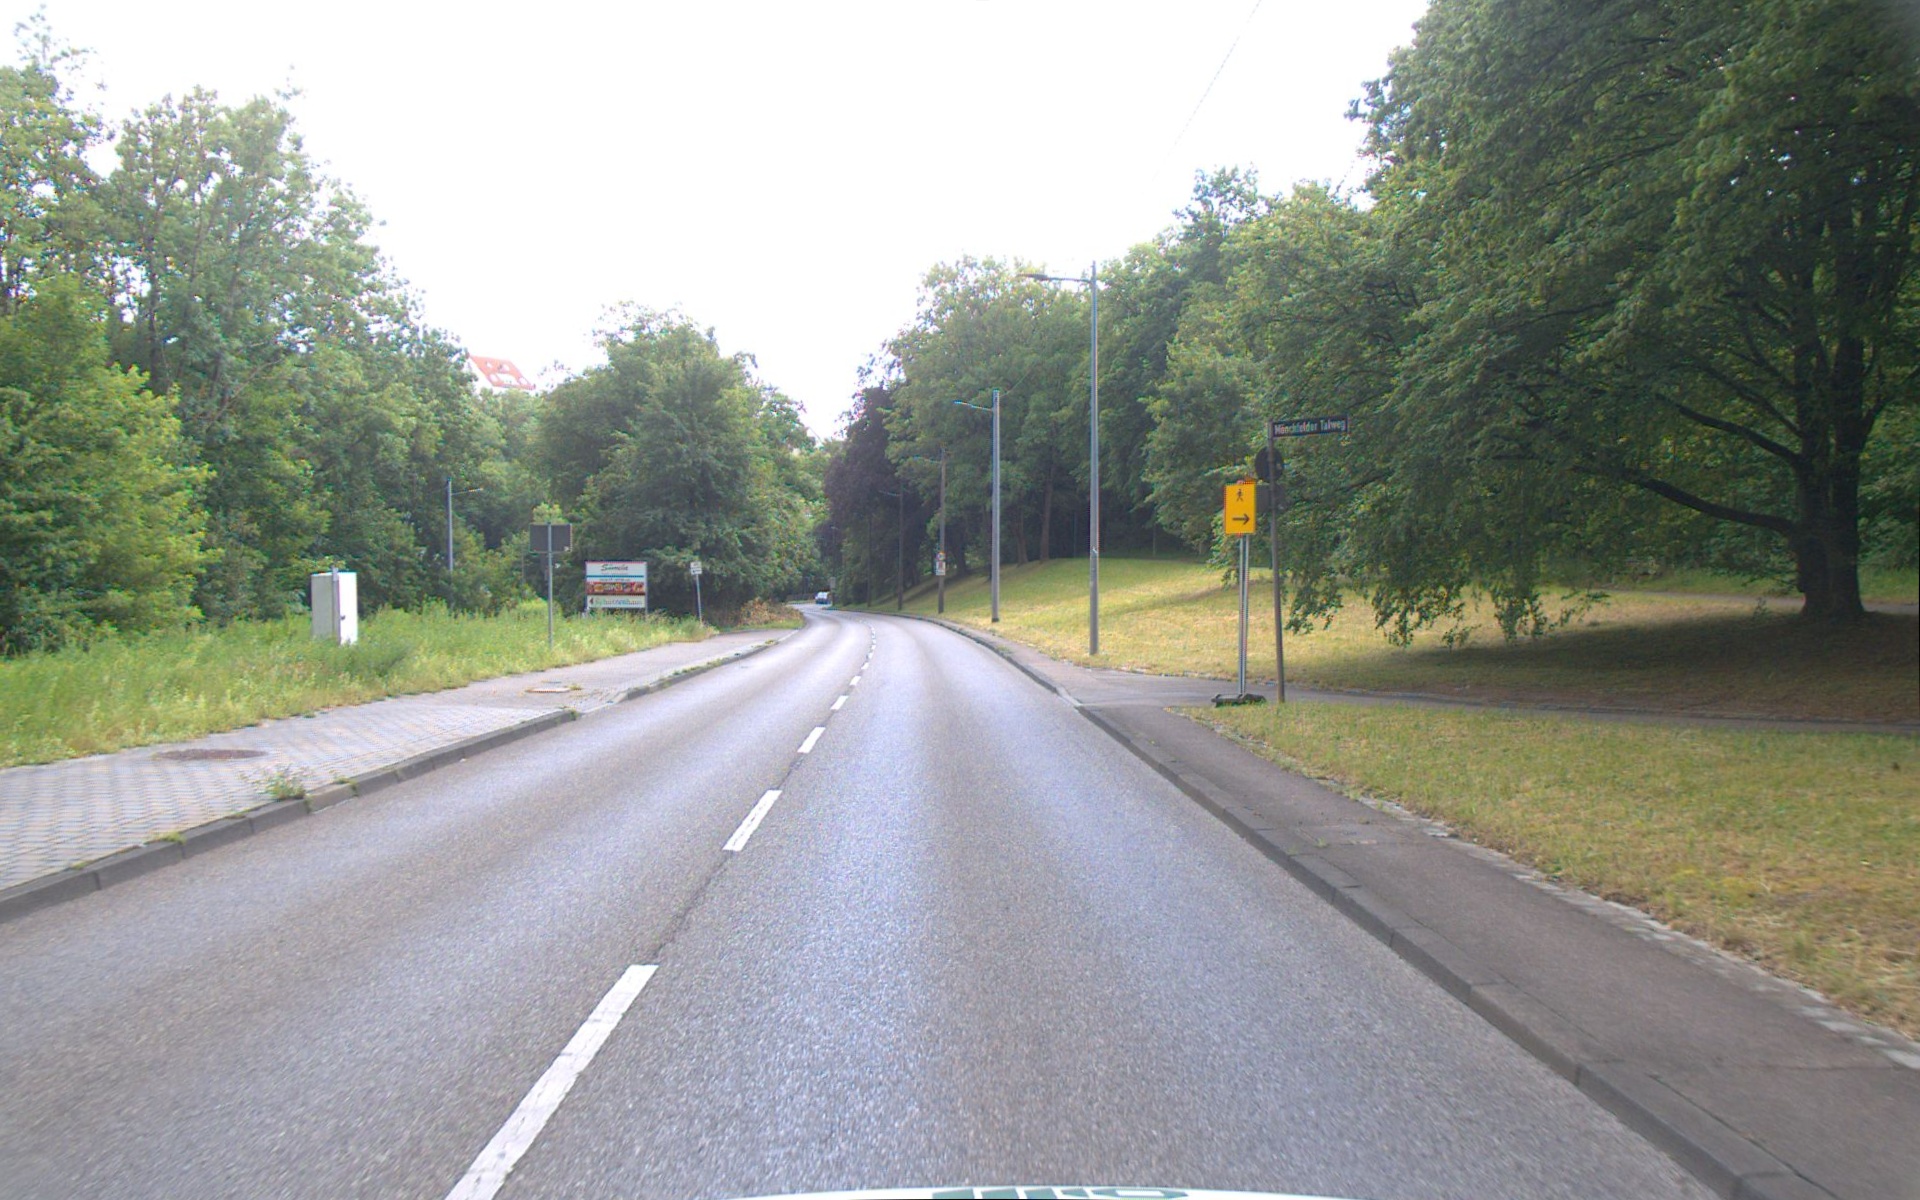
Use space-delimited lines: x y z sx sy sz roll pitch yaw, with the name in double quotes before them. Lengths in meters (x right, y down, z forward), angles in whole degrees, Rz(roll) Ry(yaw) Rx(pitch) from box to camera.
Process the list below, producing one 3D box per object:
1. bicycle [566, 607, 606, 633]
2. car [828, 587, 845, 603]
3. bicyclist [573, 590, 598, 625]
"bicycle" -15.888 0.834 70.206 0.822 1.054 2.414 1 -1 -34
"car" -16.687 -0.642 223.645 1.952 2.049 4.000 1 -1 1
"bicyclist" -15.933 0.313 70.293 0.819 1.452 0.772 0 -1 -35
